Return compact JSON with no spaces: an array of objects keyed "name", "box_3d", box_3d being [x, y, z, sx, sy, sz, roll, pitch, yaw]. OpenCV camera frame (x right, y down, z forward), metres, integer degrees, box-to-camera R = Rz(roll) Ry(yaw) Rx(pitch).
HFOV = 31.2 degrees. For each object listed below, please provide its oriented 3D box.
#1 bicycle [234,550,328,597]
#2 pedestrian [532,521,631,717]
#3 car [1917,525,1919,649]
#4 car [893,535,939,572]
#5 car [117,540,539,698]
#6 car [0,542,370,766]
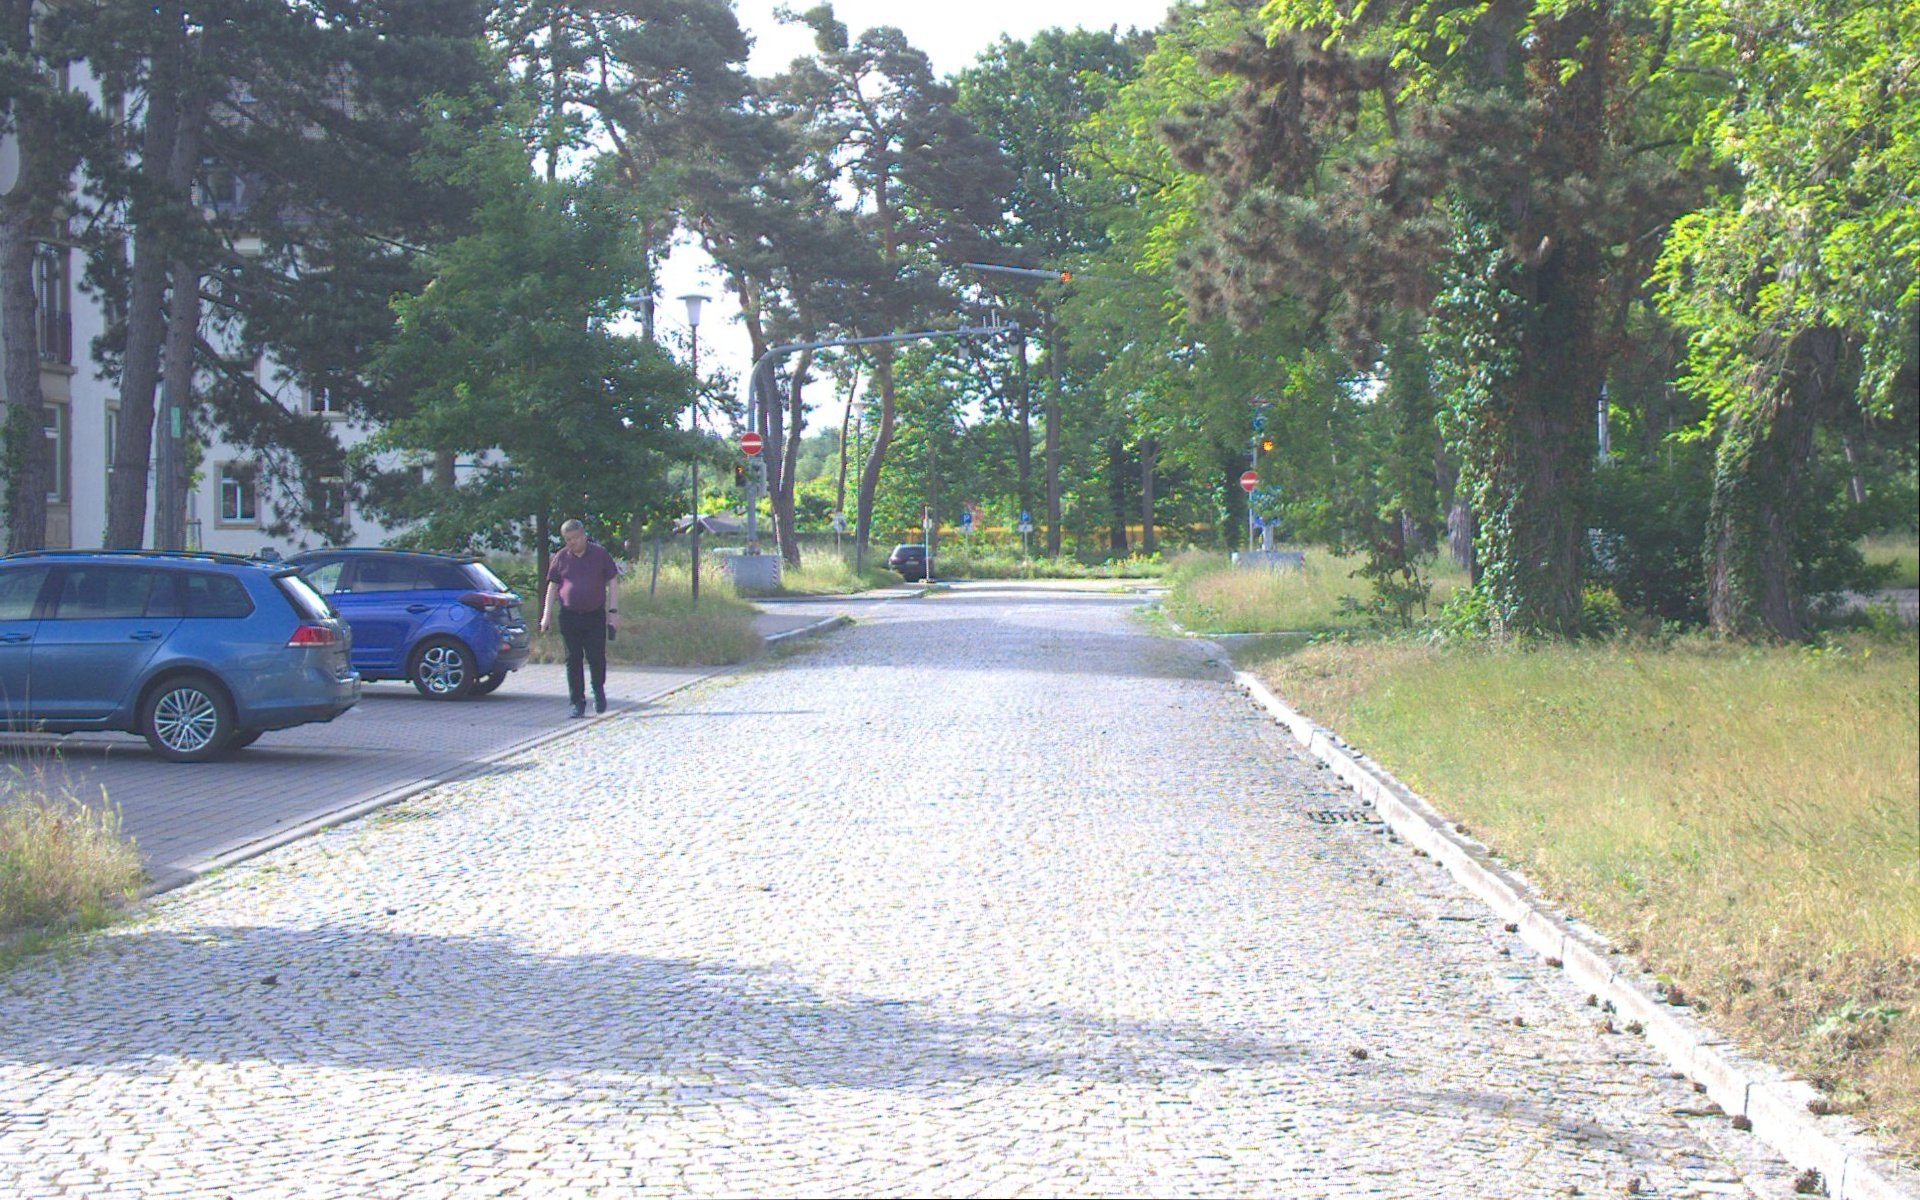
[{"name":"bicycle","box_3d":[-16.507,-0.647,83.653,2.117,1.104,0.829,0,1,-1]},{"name":"pedestrian","box_3d":[-3.470,0.163,31.598,0.804,1.765,1.153,0,1,-2]},{"name":"car","box_3d":[12.212,-0.132,38.686,1.667,1.462,4.000,-1,1,-2]},{"name":"car","box_3d":[-1.786,-1.922,140.648,1.845,1.481,4.000,0,1,0]},{"name":"car","box_3d":[-6.314,0.172,34.588,3.836,1.459,1.719,1,1,4]},{"name":"car","box_3d":[-6.568,0.347,24.996,4.256,1.459,1.681,1,3,0]}]
